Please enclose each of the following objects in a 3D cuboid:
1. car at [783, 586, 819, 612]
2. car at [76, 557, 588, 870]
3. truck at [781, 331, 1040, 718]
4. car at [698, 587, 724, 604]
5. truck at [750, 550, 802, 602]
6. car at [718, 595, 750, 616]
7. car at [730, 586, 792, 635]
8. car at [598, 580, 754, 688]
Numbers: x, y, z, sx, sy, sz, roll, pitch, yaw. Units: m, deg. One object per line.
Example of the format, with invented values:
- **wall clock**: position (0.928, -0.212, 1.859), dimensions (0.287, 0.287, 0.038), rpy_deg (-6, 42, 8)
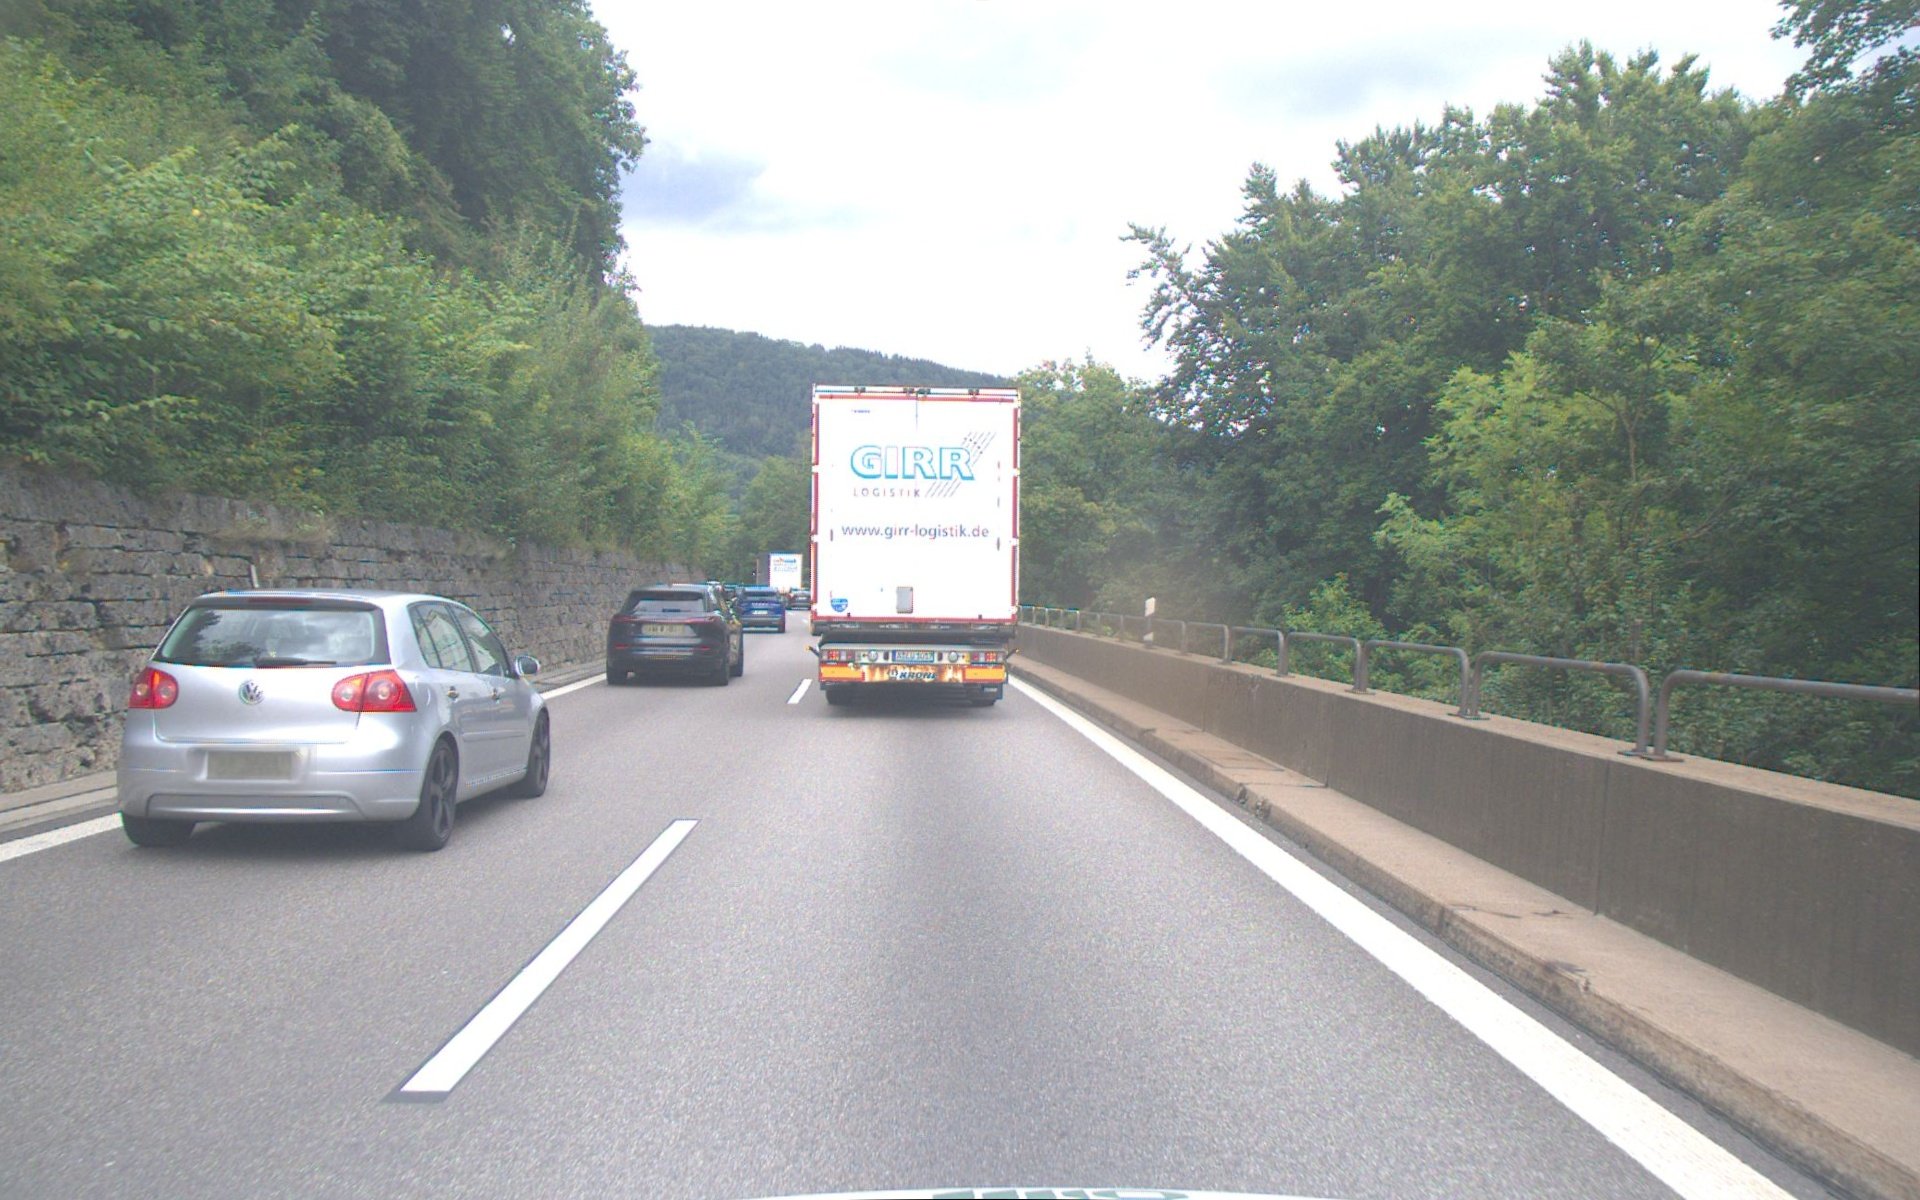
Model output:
- **car**: position (-10.515, -0.070, 109.275), dimensions (2.023, 1.683, 3.990), rpy_deg (1, 0, -11)
- **car**: position (-3.749, 0.636, 10.833), dimensions (1.647, 1.541, 4.581), rpy_deg (3, -1, -2)
- **truck**: position (-0.859, -0.877, 27.139), dimensions (3.022, 4.542, 15.148), rpy_deg (1, 0, -2)
- **car**: position (-24.662, -0.457, 163.748), dimensions (1.866, 1.577, 4.230), rpy_deg (2, 0, -16)
- **truck**: position (-14.666, -1.821, 131.173), dimensions (2.589, 3.925, 12.315), rpy_deg (1, 0, -13)
- **car**: position (-17.772, 0.408, 130.099), dimensions (1.960, 1.624, 4.336), rpy_deg (-1, 0, -15)
- **car**: position (-7.282, 0.353, 60.246), dimensions (1.957, 1.660, 4.997), rpy_deg (1, 0, -10)
- **car**: position (-4.687, 0.535, 28.010), dimensions (1.953, 1.660, 5.006), rpy_deg (0, 0, -2)
